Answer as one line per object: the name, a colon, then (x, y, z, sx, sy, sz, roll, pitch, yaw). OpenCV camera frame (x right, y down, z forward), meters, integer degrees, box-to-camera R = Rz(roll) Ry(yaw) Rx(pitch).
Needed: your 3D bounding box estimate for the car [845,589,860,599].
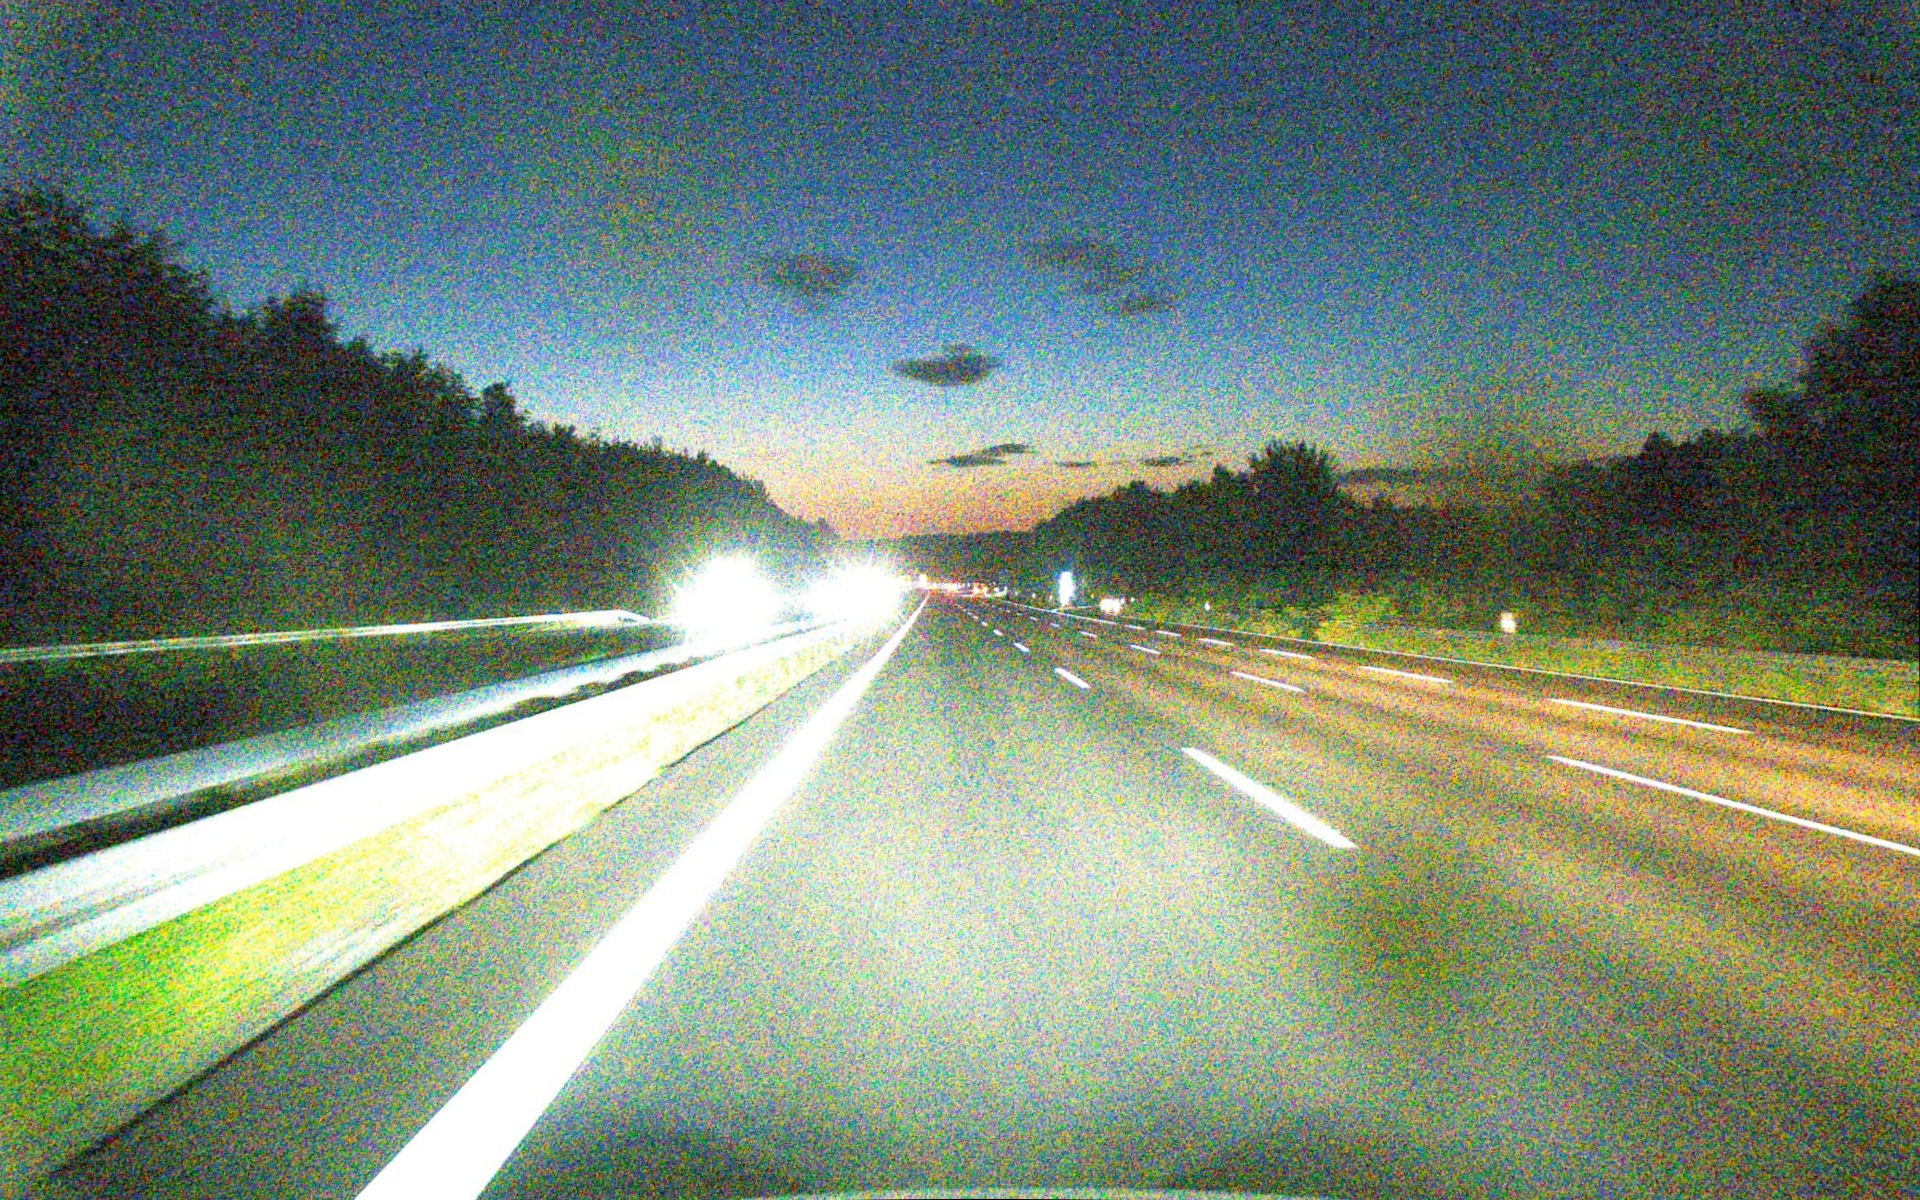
car: (-15.877, -0.894, 245.289, 1.953, 1.418, 5.704, -2, 0, -1)

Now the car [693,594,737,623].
car: (-13.489, 0.458, 91.266, 1.954, 1.486, 4.689, -2, 0, -4)

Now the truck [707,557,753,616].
truck: (-17.476, -0.979, 125.841, 2.698, 4.285, 5.824, -2, 0, -2)

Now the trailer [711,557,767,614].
trailer: (-17.623, -1.111, 132.542, 2.802, 4.249, 13.901, -2, 0, -1)

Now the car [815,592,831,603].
car: (-19.456, -0.391, 235.176, 1.953, 1.511, 4.800, -2, 0, 0)
